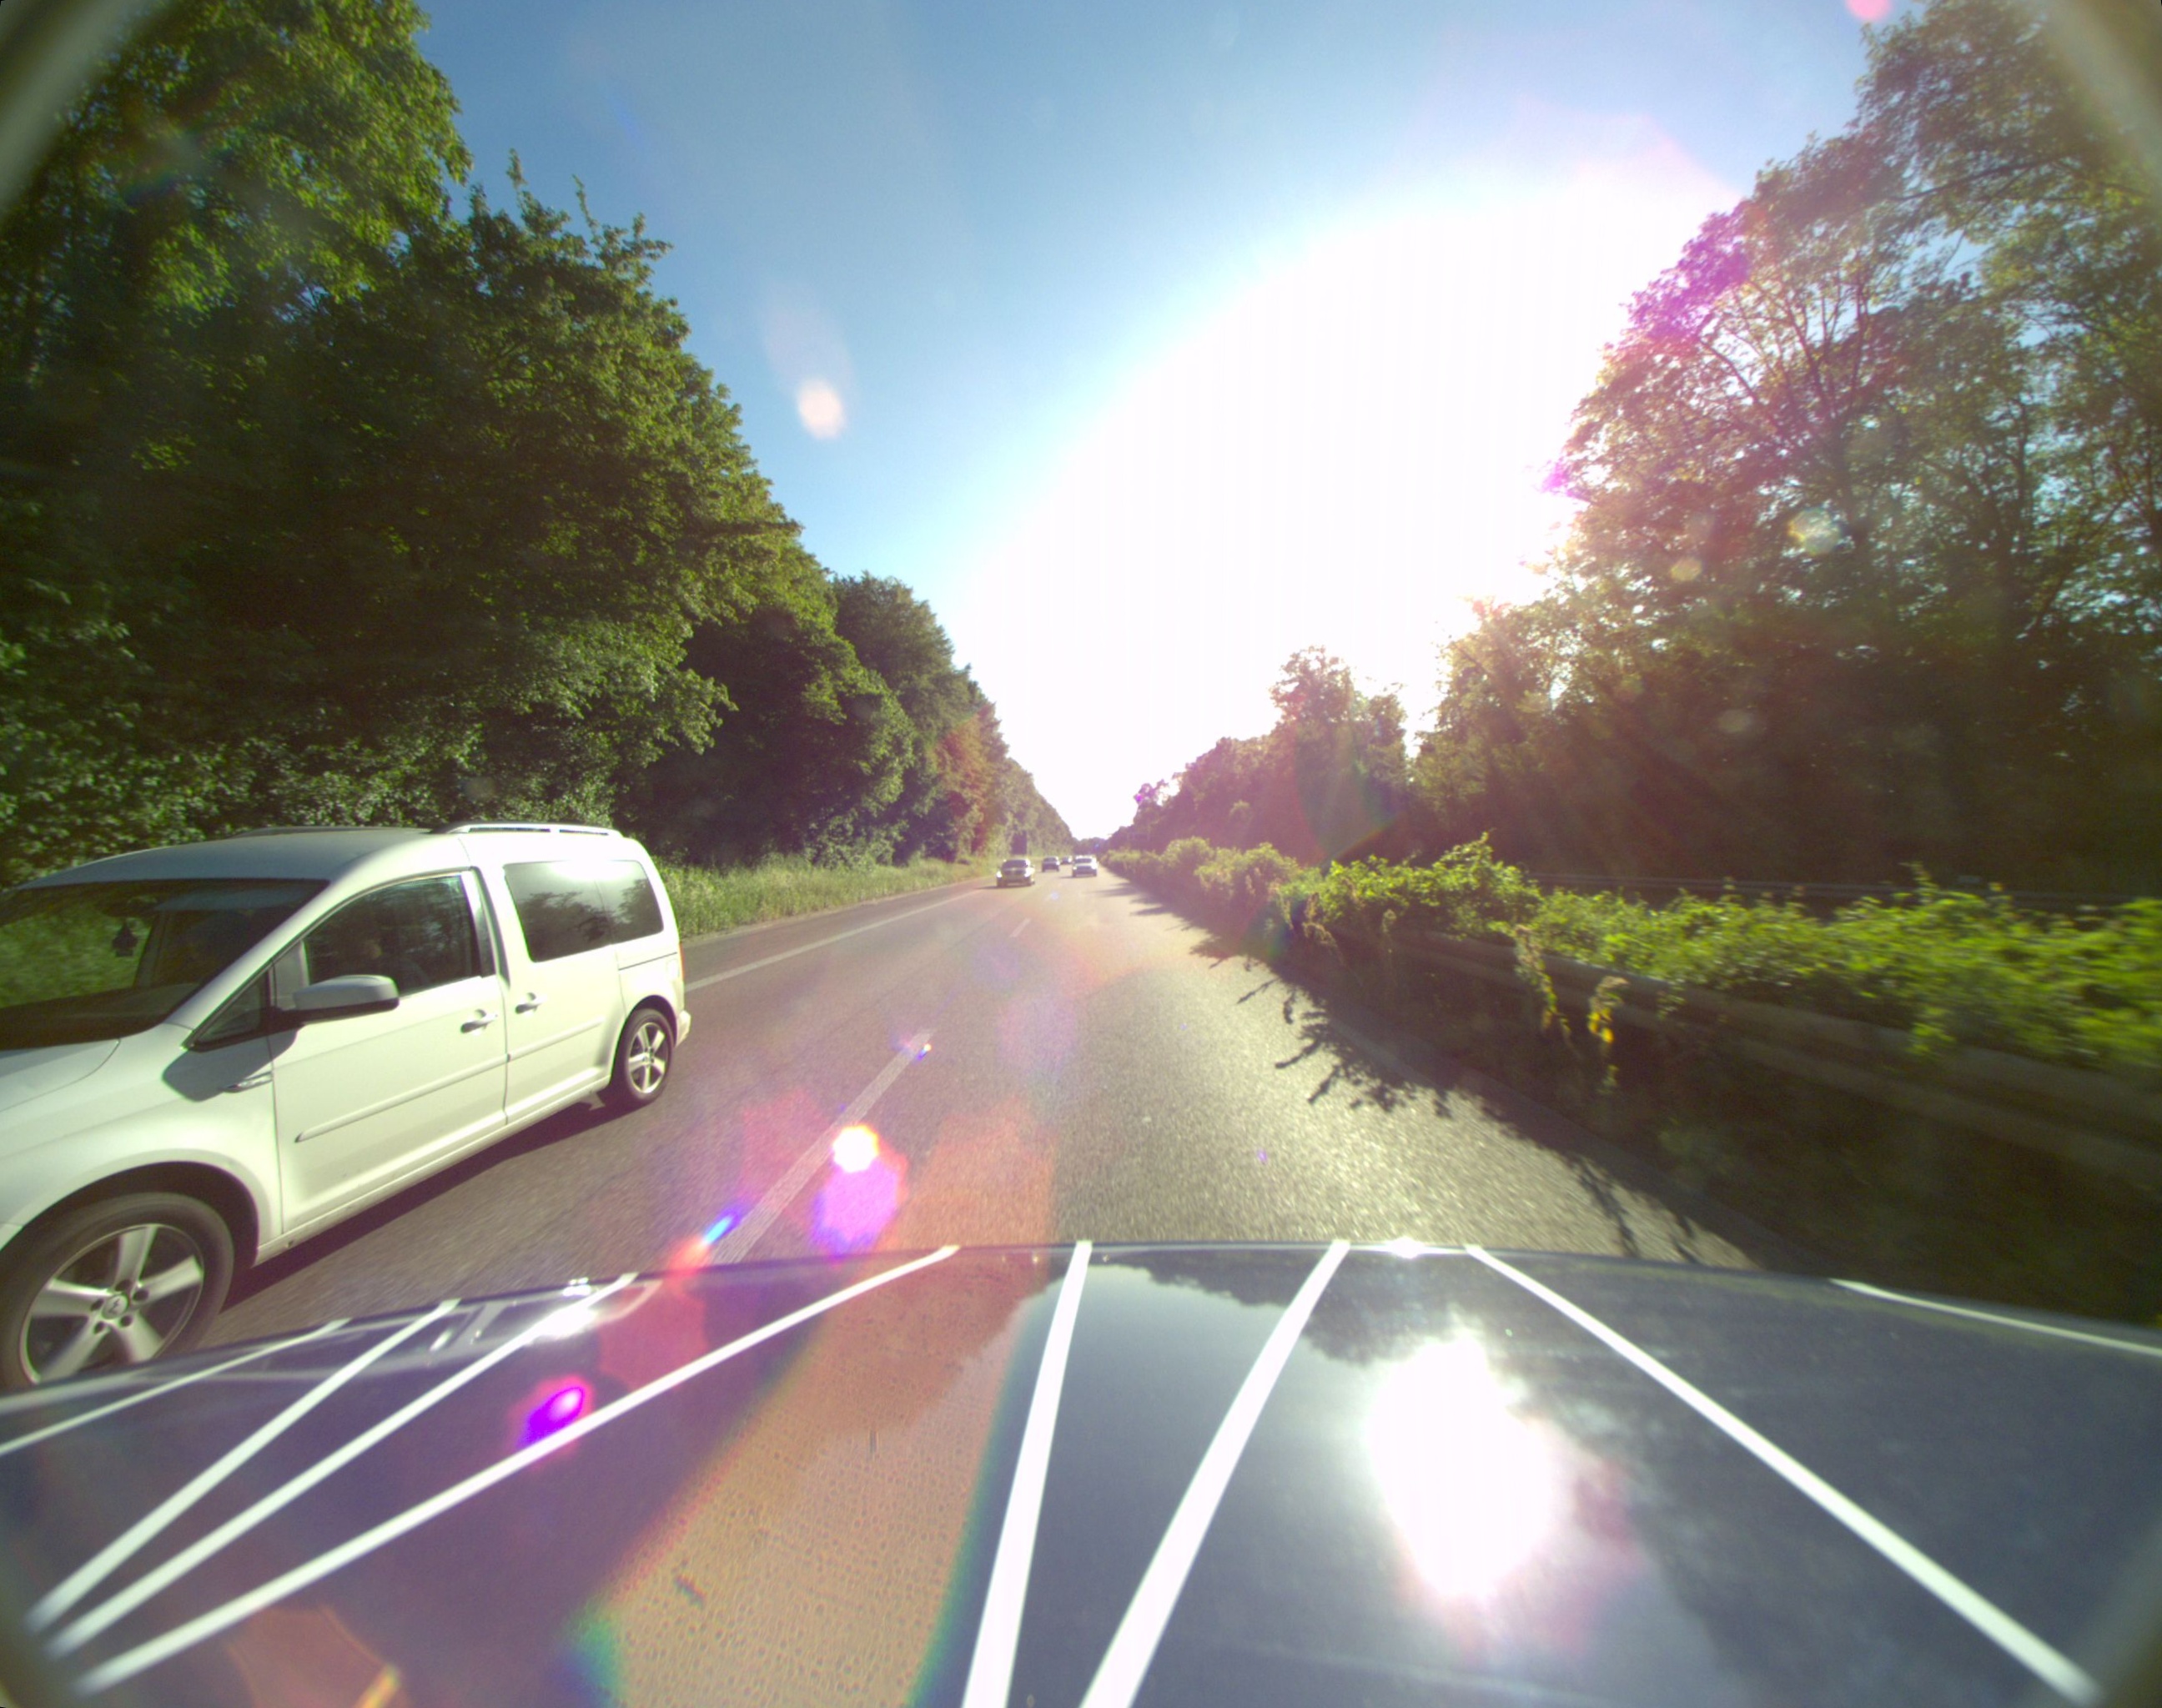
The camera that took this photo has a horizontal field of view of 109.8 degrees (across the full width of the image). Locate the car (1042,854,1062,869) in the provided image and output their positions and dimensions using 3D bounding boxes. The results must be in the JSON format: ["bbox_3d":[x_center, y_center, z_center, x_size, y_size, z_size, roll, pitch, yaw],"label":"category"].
[{"bbox_3d":[-2.941,0.796,77.986,1.795,1.440,3.877,-2,0,0],"label":"car"}]

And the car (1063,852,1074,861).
[{"bbox_3d":[-2.164,0.388,131.151,1.795,1.440,3.877,-2,0,0],"label":"car"}]

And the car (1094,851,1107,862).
[{"bbox_3d":[2.962,0.359,117.587,1.914,1.561,4.325,-2,1,1],"label":"car"}]

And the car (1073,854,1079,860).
[{"bbox_3d":[-1.380,0.850,208.480,1.795,1.440,3.877,-2,0,0],"label":"car"}]

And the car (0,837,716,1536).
[{"bbox_3d":[-3.712,0.872,3.458,1.803,1.802,4.587,-2,1,0],"label":"car"}]

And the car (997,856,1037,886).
[{"bbox_3d":[-3.392,0.881,41.086,1.795,1.440,3.877,-2,0,0],"label":"car"}]

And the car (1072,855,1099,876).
[{"bbox_3d":[0.339,0.795,56.435,1.890,1.440,3.878,-2,0,1],"label":"car"}]
